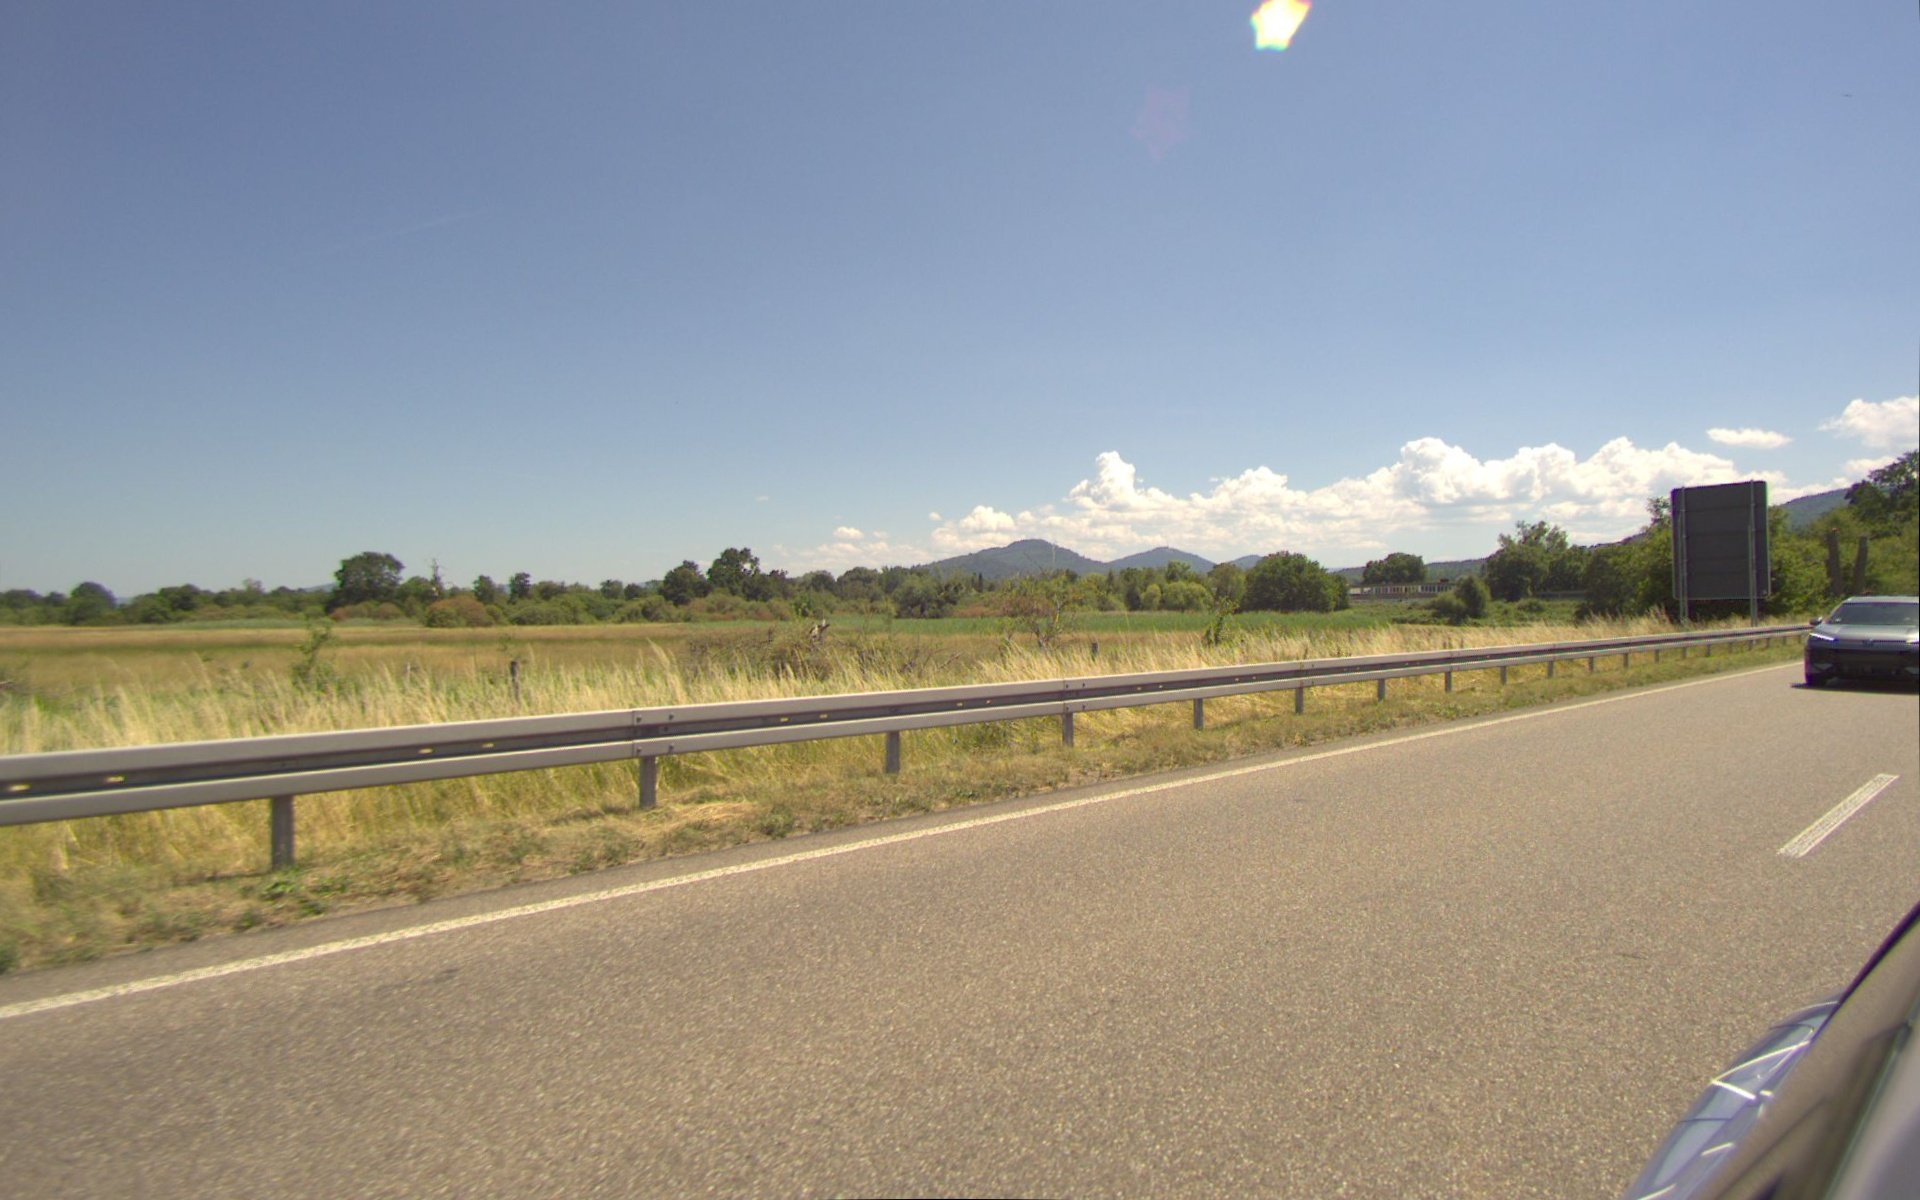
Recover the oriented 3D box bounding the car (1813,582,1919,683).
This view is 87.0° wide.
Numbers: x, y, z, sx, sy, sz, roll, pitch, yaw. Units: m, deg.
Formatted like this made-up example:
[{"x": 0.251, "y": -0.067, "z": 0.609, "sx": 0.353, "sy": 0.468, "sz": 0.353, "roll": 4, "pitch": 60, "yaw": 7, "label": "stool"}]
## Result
[{"x": 16.184, "y": 0.512, "z": 17.347, "sx": 3.948, "sy": 1.573, "sz": 1.788, "roll": 0, "pitch": 0, "yaw": -41, "label": "car"}]
